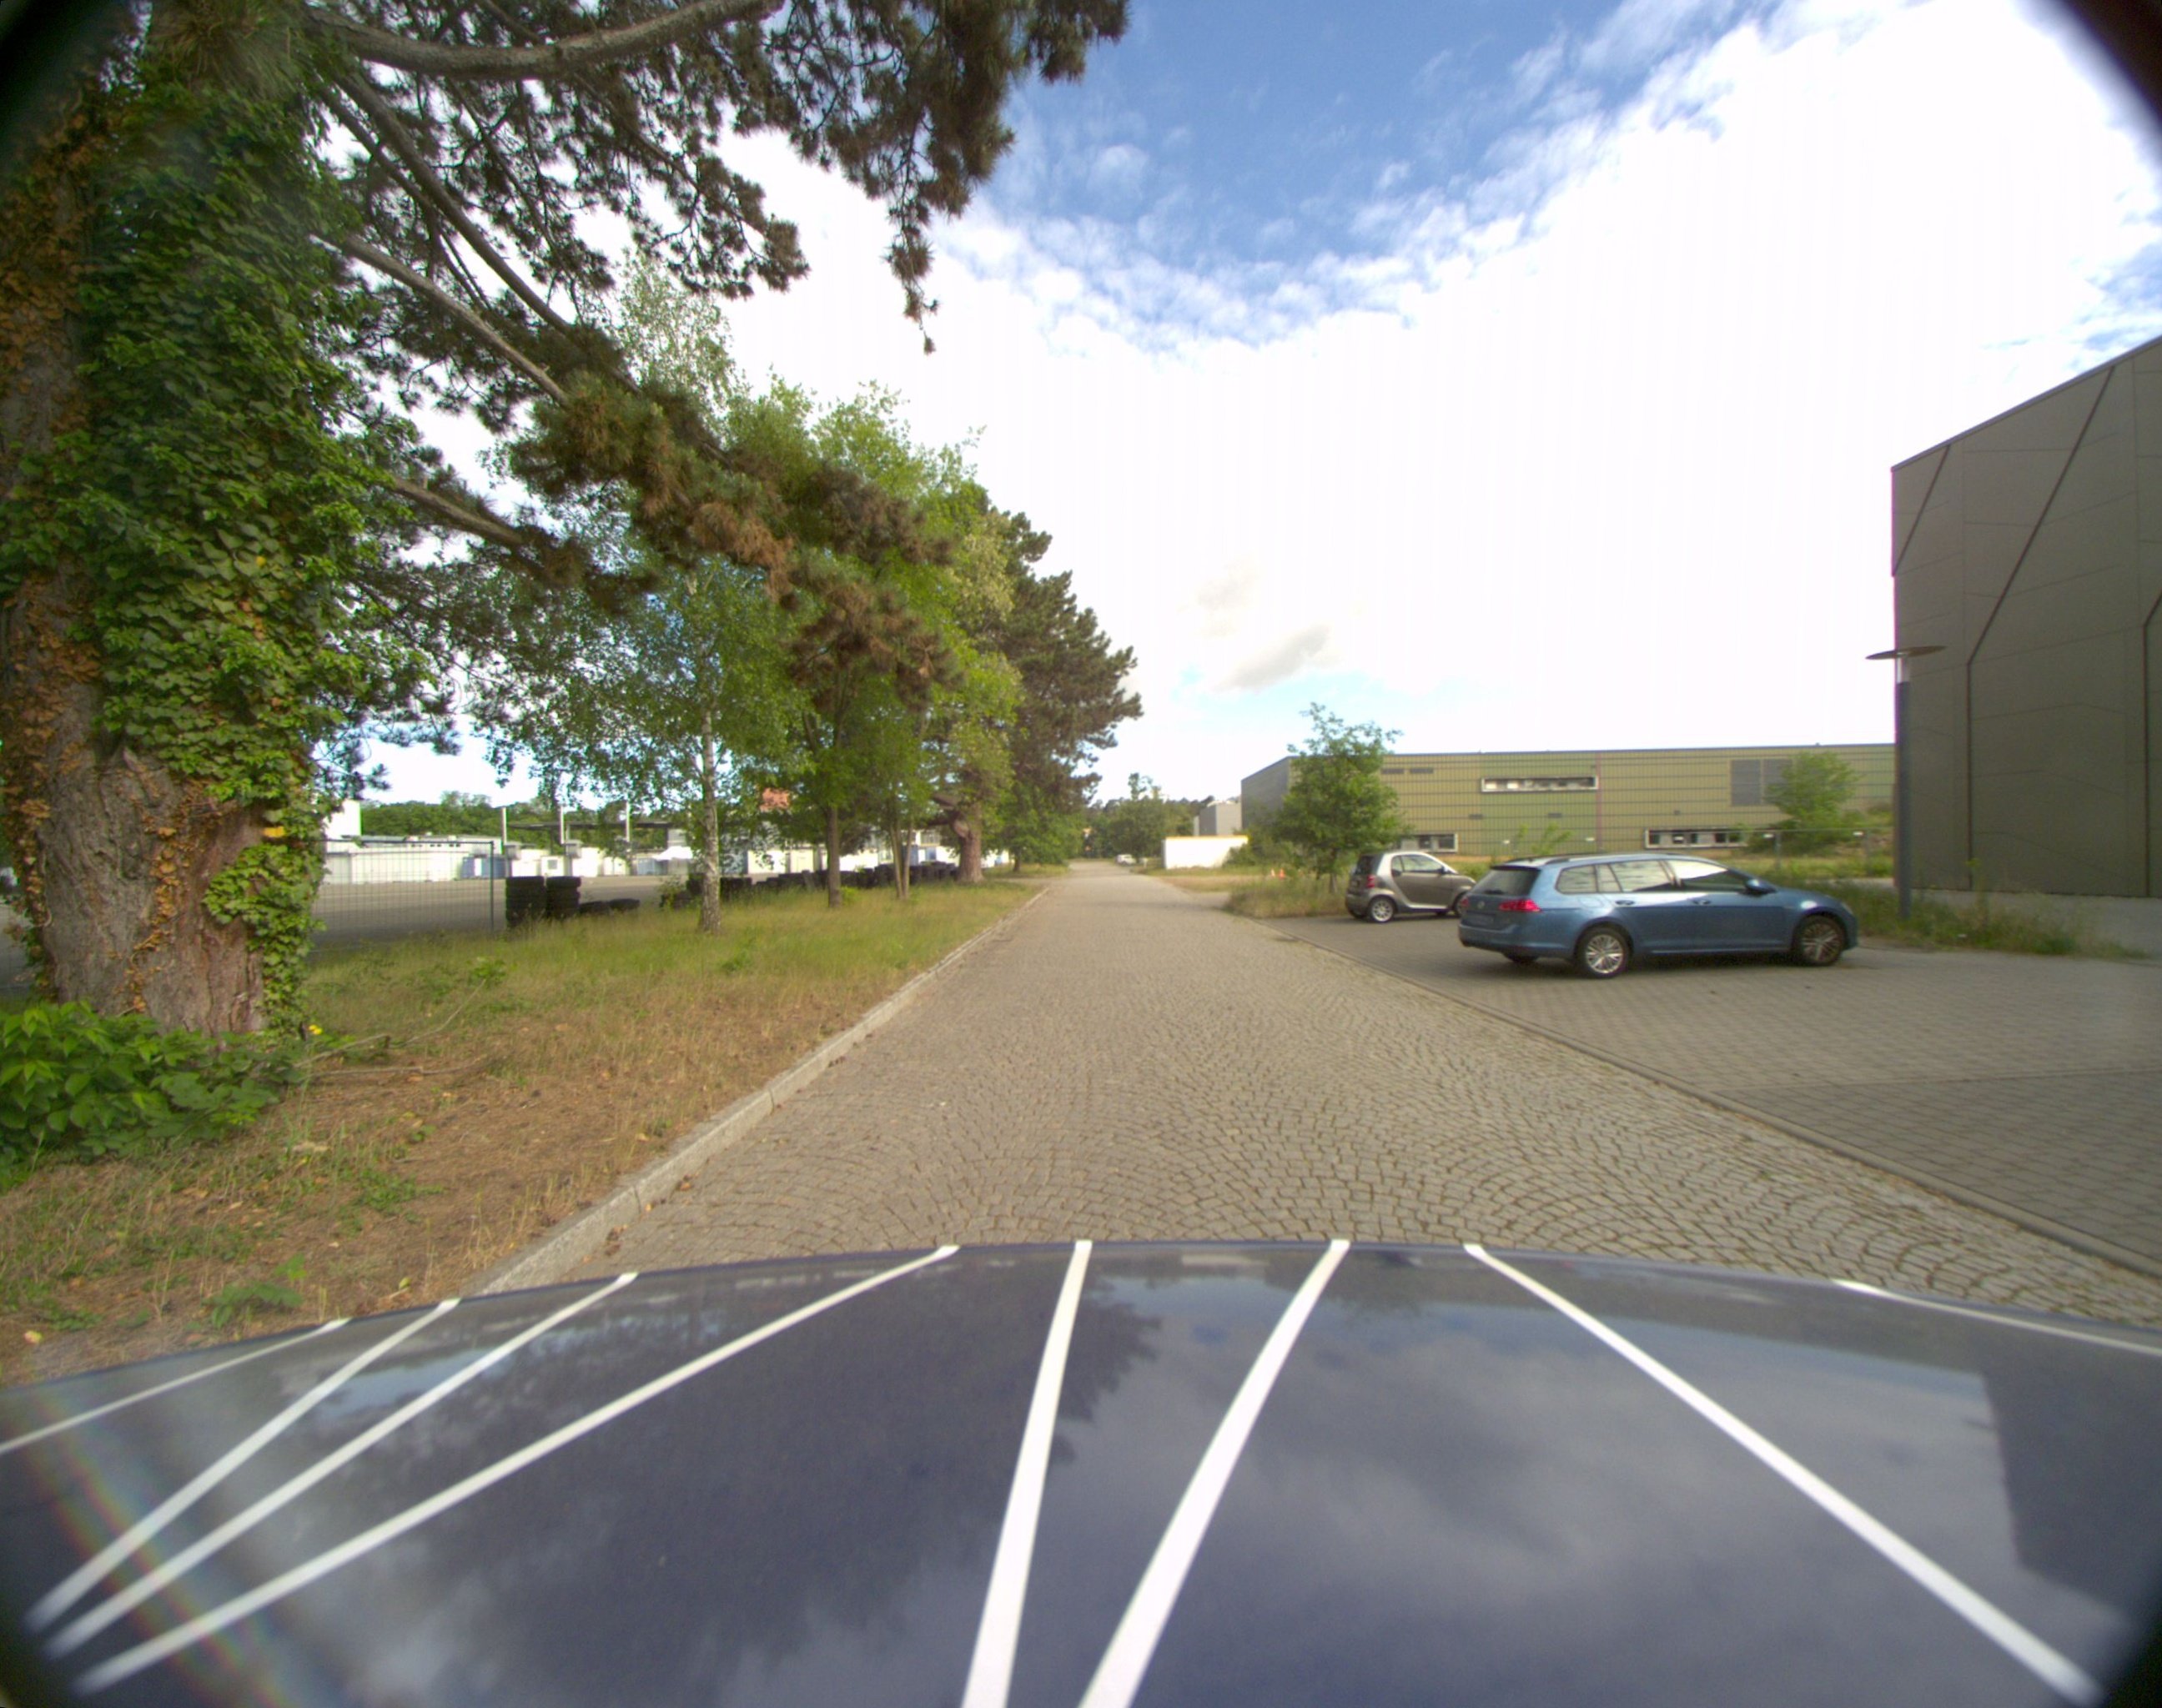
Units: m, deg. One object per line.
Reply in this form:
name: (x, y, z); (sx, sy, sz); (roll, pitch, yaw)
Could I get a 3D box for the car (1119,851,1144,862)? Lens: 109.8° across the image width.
car: (8.305, 0.391, 124.289); (3.996, 1.604, 1.797); (-1, 0, 4)

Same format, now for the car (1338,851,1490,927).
car: (7.392, 0.750, 17.066); (2.661, 1.502, 1.610); (-3, 0, 0)

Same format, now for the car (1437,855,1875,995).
car: (7.144, 0.821, 9.739); (4.317, 1.420, 1.773); (-3, 0, -2)
